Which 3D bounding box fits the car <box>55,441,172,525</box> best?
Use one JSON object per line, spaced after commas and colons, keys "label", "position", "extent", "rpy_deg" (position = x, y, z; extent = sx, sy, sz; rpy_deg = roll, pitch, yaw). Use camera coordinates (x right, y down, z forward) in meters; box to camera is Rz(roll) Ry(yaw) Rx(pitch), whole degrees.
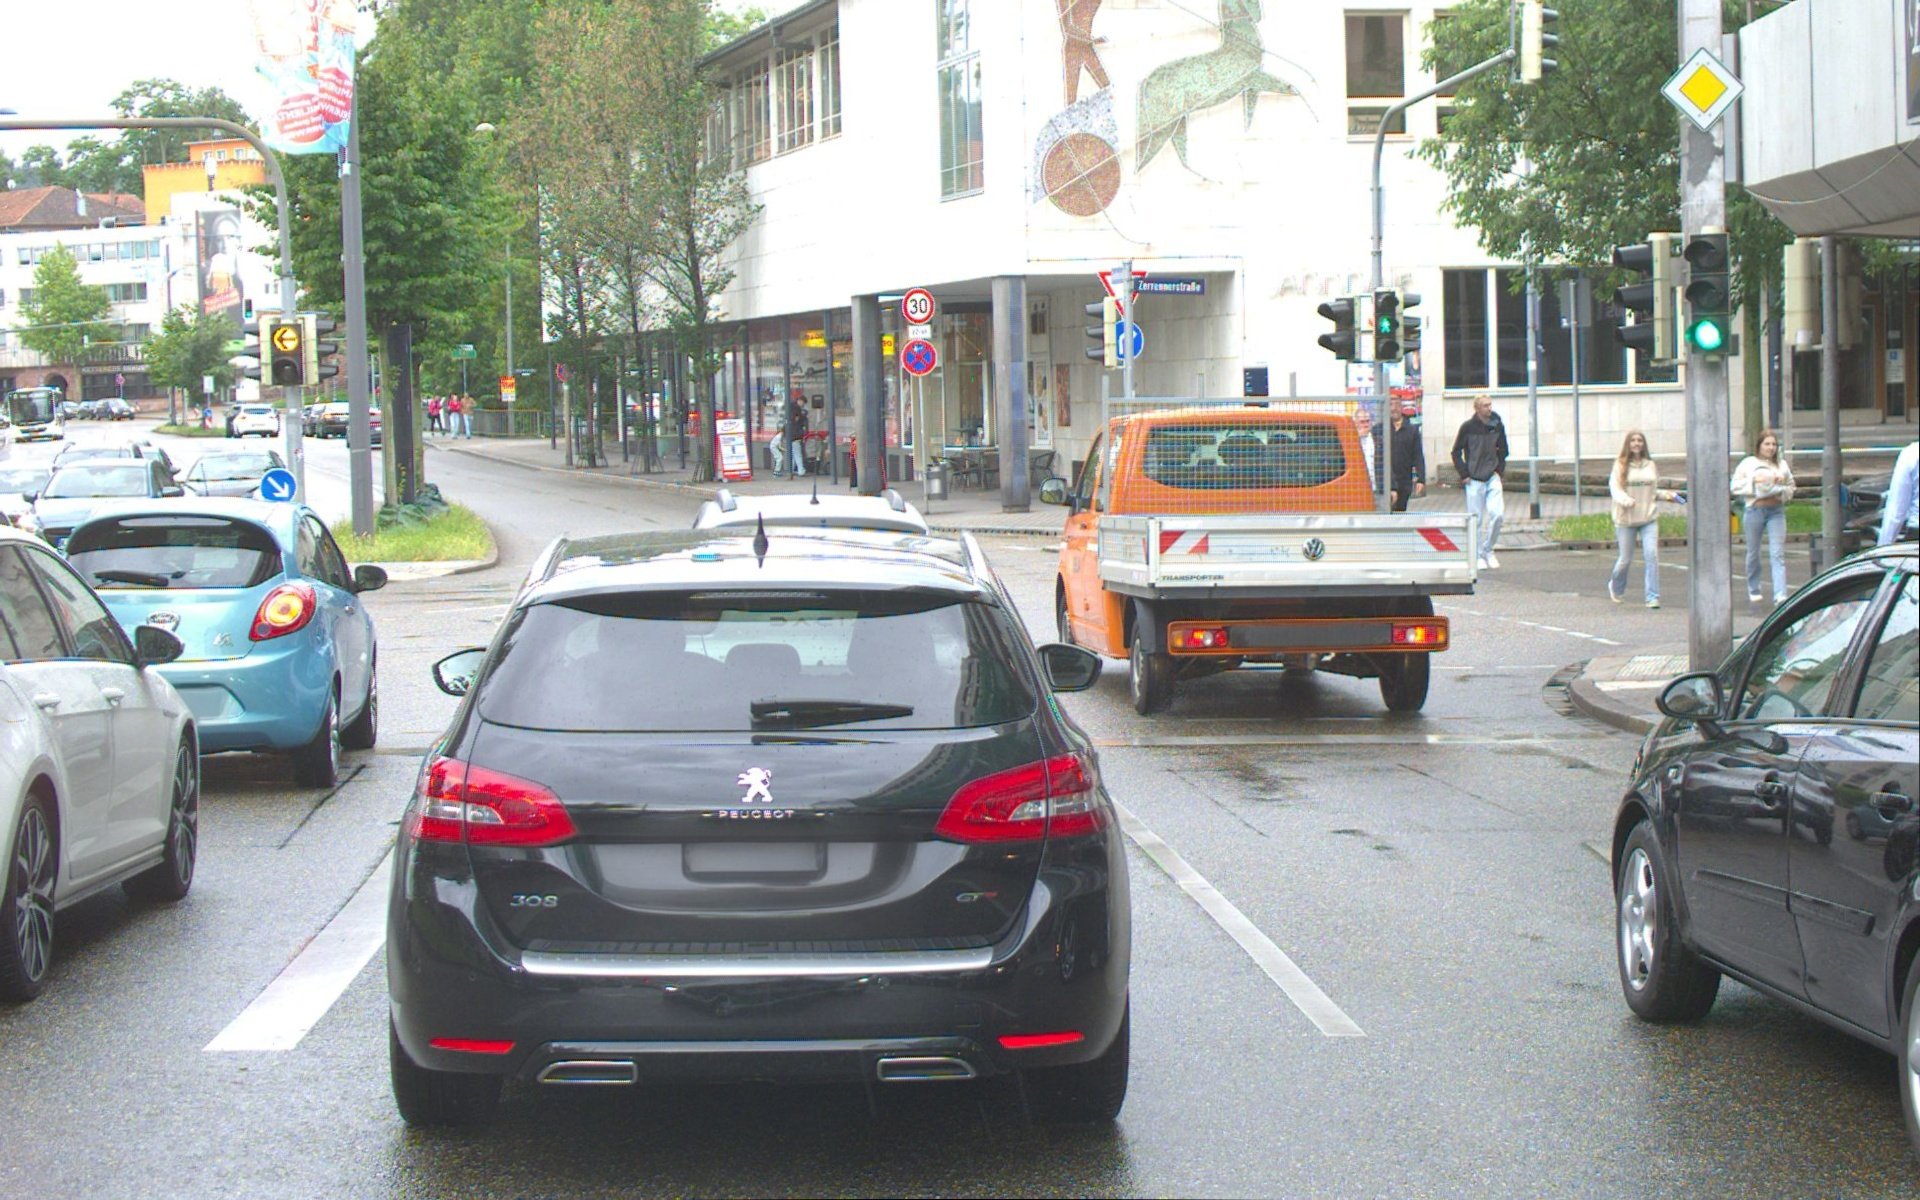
{"label": "car", "position": [-15.512, -2.162, 63.108], "extent": [1.632, 1.481, 3.611], "rpy_deg": [0, 2, -7]}

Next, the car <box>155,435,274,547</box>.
{"label": "car", "position": [-11.820, -1.699, 54.669], "extent": [1.744, 1.634, 4.001], "rpy_deg": [1, 0, -11]}

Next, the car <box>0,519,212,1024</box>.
{"label": "car", "position": [-3.726, 0.458, 11.460], "extent": [1.777, 1.424, 3.843], "rpy_deg": [0, 2, -2]}

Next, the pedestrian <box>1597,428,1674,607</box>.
{"label": "pedestrian", "position": [6.322, -0.769, 32.200], "extent": [0.637, 1.653, 0.733], "rpy_deg": [0, 0, 6]}

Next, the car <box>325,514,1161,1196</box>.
{"label": "car", "position": [-0.504, 0.502, 9.277], "extent": [1.777, 1.424, 3.843], "rpy_deg": [0, 2, -1]}

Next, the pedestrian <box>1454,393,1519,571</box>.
{"label": "pedestrian", "position": [5.675, -1.268, 37.074], "extent": [0.637, 1.891, 0.733], "rpy_deg": [0, 0, 6]}

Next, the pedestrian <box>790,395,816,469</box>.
{"label": "pedestrian", "position": [-3.763, -4.033, 82.552], "extent": [0.468, 1.742, 0.541], "rpy_deg": [1, 0, -21]}

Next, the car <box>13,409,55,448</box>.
{"label": "car", "position": [-52.961, -9.789, 196.602], "extent": [1.993, 2.007, 4.001], "rpy_deg": [1, 0, -20]}

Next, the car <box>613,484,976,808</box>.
{"label": "car", "position": [-0.805, 0.155, 18.042], "extent": [1.696, 1.481, 3.794], "rpy_deg": [1, 2, -1]}

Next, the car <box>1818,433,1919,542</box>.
{"label": "car", "position": [12.080, -1.298, 40.241], "extent": [3.688, 1.208, 1.835], "rpy_deg": [1, 0, 4]}

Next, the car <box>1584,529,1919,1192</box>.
{"label": "car", "position": [2.858, 0.562, 8.747], "extent": [1.616, 1.424, 3.843], "rpy_deg": [0, 2, -3]}

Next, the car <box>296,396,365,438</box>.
{"label": "car", "position": [-26.015, -7.528, 141.910], "extent": [1.724, 1.485, 4.734], "rpy_deg": [1, 0, -24]}

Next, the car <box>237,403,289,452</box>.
{"label": "car", "position": [-29.781, -7.346, 146.844], "extent": [1.705, 1.875, 4.001], "rpy_deg": [1, 0, -18]}

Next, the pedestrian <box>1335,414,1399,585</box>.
{"label": "pedestrian", "position": [4.241, -1.041, 35.866], "extent": [0.637, 1.752, 0.733], "rpy_deg": [0, 0, 6]}

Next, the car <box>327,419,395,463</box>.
{"label": "car", "position": [-21.661, -5.759, 124.227], "extent": [1.787, 1.449, 4.508], "rpy_deg": [-4, 4, -17]}

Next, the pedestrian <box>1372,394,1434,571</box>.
{"label": "pedestrian", "position": [4.802, -1.261, 37.272], "extent": [0.637, 1.891, 0.733], "rpy_deg": [0, 0, 6]}

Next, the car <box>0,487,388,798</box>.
{"label": "car", "position": [-4.051, 0.151, 18.586], "extent": [1.632, 1.481, 3.610], "rpy_deg": [0, 2, -5]}

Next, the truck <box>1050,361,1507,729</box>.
{"label": "truck", "position": [1.956, -0.425, 22.865], "extent": [2.176, 2.165, 5.022], "rpy_deg": [0, 2, -4]}

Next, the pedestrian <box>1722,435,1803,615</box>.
{"label": "pedestrian", "position": [7.470, -0.692, 32.034], "extent": [0.637, 1.653, 0.733], "rpy_deg": [0, 0, 6]}

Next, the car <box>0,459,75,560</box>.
{"label": "car", "position": [-14.691, -1.415, 52.808], "extent": [1.632, 1.481, 3.611], "rpy_deg": [0, 2, -7]}

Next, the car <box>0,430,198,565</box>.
{"label": "car", "position": [-10.811, -1.249, 43.320], "extent": [1.744, 1.574, 4.000], "rpy_deg": [1, 0, -4]}

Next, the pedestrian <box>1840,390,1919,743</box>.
{"label": "pedestrian", "position": [5.362, -0.183, 19.141], "extent": [0.736, 1.928, 0.640], "rpy_deg": [1, 0, -1]}
